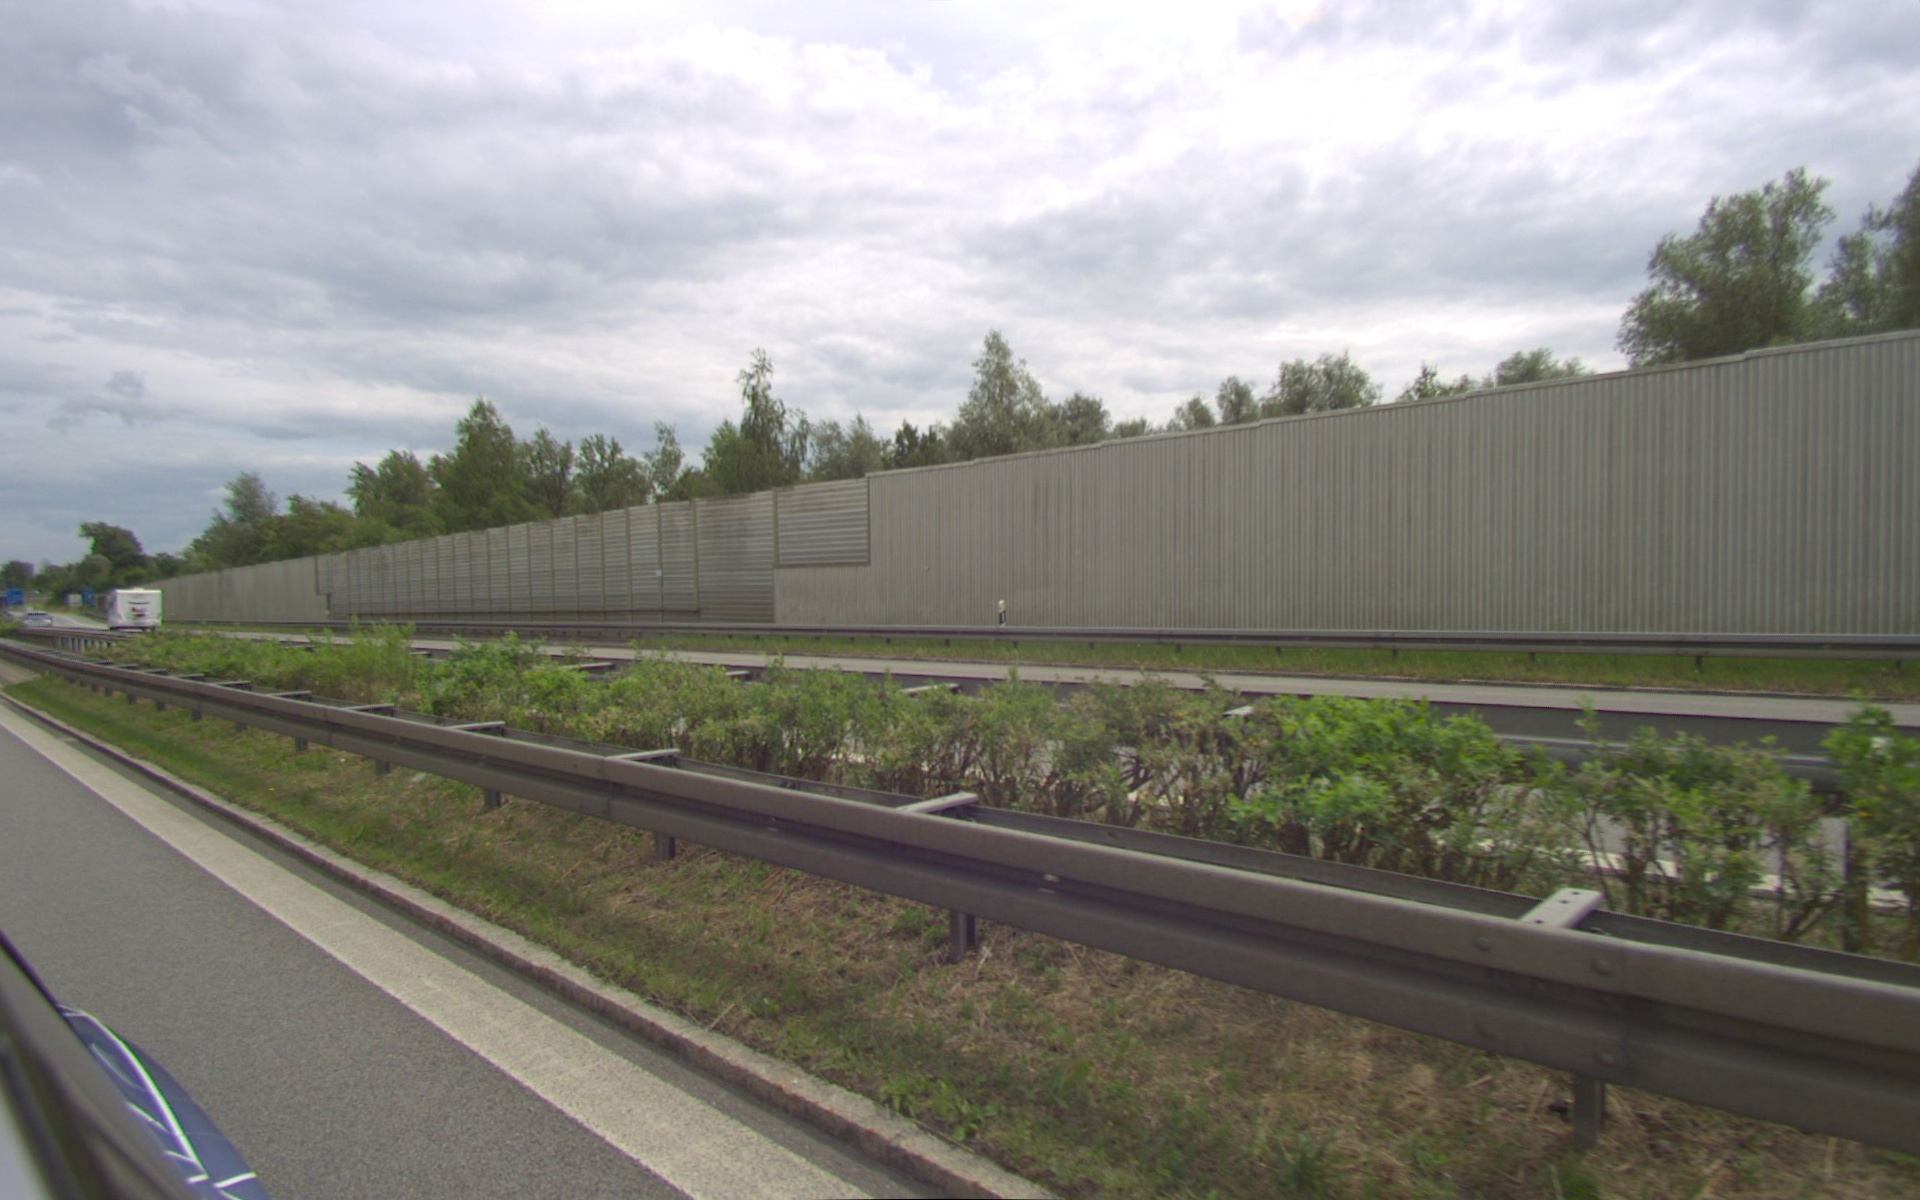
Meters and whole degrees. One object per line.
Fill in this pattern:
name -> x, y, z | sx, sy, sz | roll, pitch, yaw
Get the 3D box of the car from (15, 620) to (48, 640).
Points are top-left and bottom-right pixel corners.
car -> -68.358, 2.219, 74.494 | 1.672, 1.431, 4.651 | 1, -2, -43

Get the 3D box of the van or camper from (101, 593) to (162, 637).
van or camper -> -56.747, 1.037, 69.210 | 7.771, 2.891, 2.438 | -1, -1, 45
